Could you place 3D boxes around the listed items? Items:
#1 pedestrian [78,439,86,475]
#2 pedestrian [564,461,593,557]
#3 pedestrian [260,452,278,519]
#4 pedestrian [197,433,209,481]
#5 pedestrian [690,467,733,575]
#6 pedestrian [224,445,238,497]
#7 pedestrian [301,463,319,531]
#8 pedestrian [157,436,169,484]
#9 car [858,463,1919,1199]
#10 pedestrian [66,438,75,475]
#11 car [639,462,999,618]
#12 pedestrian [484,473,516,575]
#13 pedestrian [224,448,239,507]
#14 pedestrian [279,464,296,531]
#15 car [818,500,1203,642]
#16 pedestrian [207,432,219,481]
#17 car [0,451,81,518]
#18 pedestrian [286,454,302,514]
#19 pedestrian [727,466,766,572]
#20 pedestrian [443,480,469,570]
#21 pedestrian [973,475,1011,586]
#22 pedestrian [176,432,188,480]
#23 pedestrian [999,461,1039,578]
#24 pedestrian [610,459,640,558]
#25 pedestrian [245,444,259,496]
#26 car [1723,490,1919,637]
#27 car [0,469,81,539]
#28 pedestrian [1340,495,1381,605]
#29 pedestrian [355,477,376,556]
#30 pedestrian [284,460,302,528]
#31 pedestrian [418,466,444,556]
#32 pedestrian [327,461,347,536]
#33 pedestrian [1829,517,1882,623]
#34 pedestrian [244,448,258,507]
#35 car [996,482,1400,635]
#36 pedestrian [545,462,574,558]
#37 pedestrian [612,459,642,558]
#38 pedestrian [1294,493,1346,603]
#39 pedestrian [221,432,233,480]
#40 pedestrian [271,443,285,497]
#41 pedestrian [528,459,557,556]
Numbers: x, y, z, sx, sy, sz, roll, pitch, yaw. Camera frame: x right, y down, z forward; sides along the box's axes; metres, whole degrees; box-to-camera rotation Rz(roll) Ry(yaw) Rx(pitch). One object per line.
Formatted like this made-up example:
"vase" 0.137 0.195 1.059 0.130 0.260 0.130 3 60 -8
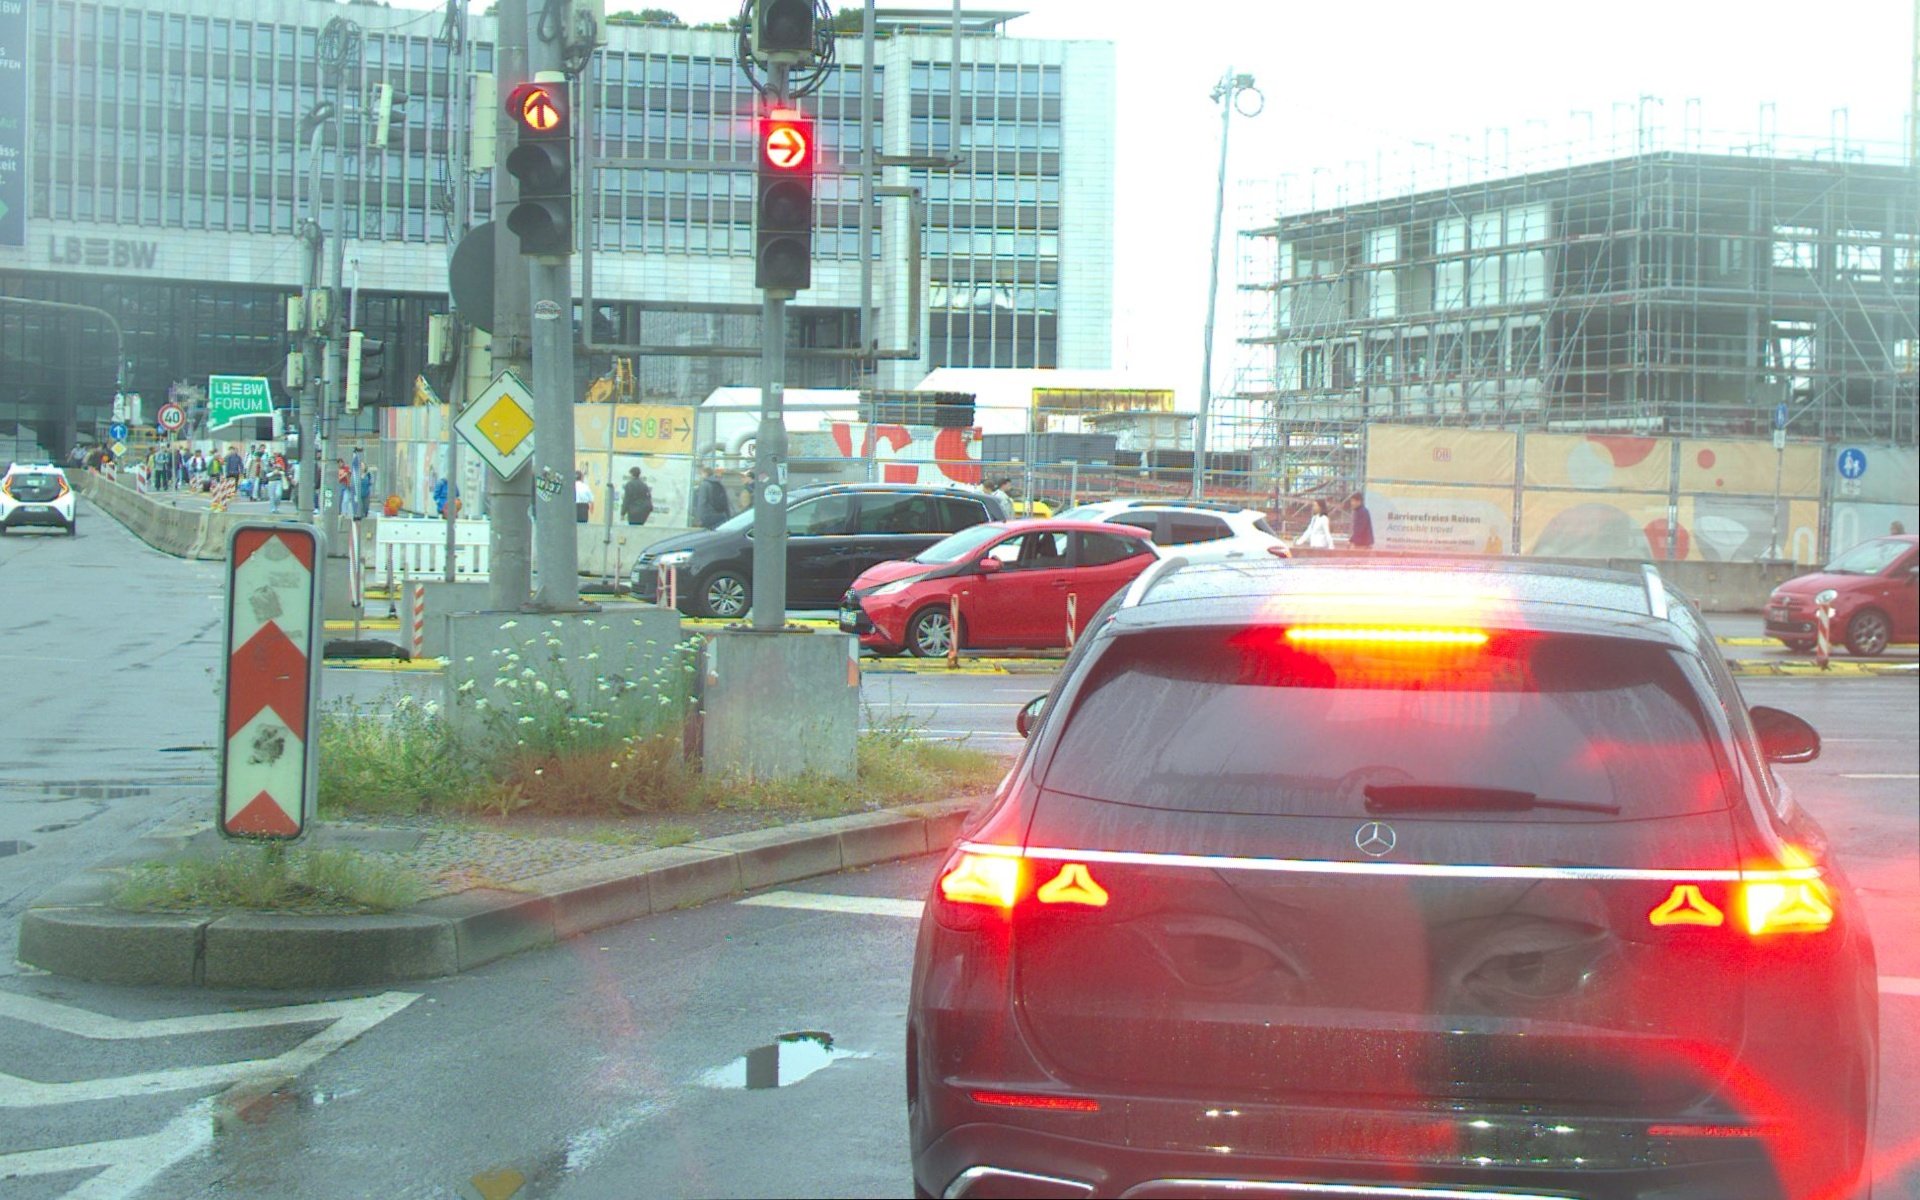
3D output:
"pedestrian" -46.002 -7.491 180.100 0.361 1.891 0.576 2 0 -15
"pedestrian" -7.592 -1.809 68.374 0.361 1.891 0.576 2 0 -22
"pedestrian" -19.762 -3.280 98.317 0.361 1.891 0.576 2 0 -18
"pedestrian" -30.562 -5.782 138.822 0.361 1.891 0.576 2 0 -18
"pedestrian" -4.377 -1.389 60.568 0.575 1.891 0.362 2 0 28
"pedestrian" -26.749 -4.735 126.110 0.361 1.891 0.576 2 0 -18
"pedestrian" -18.328 -2.888 96.891 0.361 1.891 0.576 2 0 -18
"pedestrian" -32.021 -5.630 138.176 0.361 1.891 0.576 2 0 -18
"car" 0.951 0.575 7.623 1.891 1.538 3.993 2 0 5
"pedestrian" -46.540 -7.508 179.881 0.361 1.891 0.576 2 0 -15
"car" -1.754 -0.723 42.205 3.985 1.728 2.001 2 0 -16
"pedestrian" -8.593 -1.414 64.234 0.361 1.891 0.576 2 0 -26
"pedestrian" -23.852 -4.003 112.541 0.361 1.891 0.576 2 0 -18
"pedestrian" -19.222 -2.922 98.254 0.361 1.891 0.576 2 0 -18
"car" 0.503 -0.291 35.111 3.532 1.300 1.666 2 0 -19
"pedestrian" -29.568 -5.683 136.115 0.361 1.891 0.576 2 0 -18
"car" -26.418 -3.286 98.715 1.993 1.760 4.420 2 0 -18
"pedestrian" -21.454 -3.737 110.726 0.361 1.891 0.576 2 0 -18
"pedestrian" -3.843 -1.463 61.859 0.361 1.891 0.576 2 0 -42
"pedestrian" -10.712 -1.592 73.106 0.361 1.891 0.576 2 0 -22
"pedestrian" 0.551 -1.189 59.206 0.574 1.891 0.362 2 0 2
"pedestrian" -31.345 -5.804 138.501 0.361 1.891 0.576 2 0 -18
"pedestrian" 0.966 -1.325 56.647 0.574 1.891 0.362 2 0 -2
"pedestrian" -6.455 -1.764 66.185 0.361 1.891 0.576 2 0 -22
"pedestrian" -26.041 -4.767 126.417 0.361 1.891 0.576 2 0 -18
"car" 11.693 -0.400 42.273 3.985 1.702 2.001 2 0 -18
"car" -20.746 -2.132 77.085 1.780 1.468 3.560 2 0 -17
"pedestrian" 6.943 -0.867 59.608 0.574 1.891 0.362 2 0 -11
"pedestrian" -14.362 -2.022 83.071 0.361 1.891 0.576 2 0 -18
"pedestrian" -18.782 -2.993 96.788 0.361 1.891 0.576 2 0 -18
"pedestrian" -11.223 -1.887 72.930 0.361 1.891 0.576 2 0 -22
"pedestrian" -16.084 -2.616 88.725 0.361 1.891 0.576 2 0 -18
"pedestrian" 16.296 -0.543 62.588 0.655 1.895 0.632 2 0 -14
"pedestrian" -23.092 -3.976 111.941 0.361 1.891 0.576 2 0 -14
"car" 2.677 -0.454 38.857 4.039 1.547 2.001 2 0 -19
"pedestrian" -7.948 -1.777 68.198 0.361 1.891 0.576 2 0 -22
"pedestrian" -6.427 -1.763 66.414 0.361 1.891 0.576 2 0 -22
"pedestrian" 6.315 -0.915 60.309 0.655 1.895 0.632 2 0 -14
"pedestrian" -29.115 -5.727 136.571 0.361 1.891 0.576 2 0 -18
"pedestrian" -23.880 -4.547 120.382 0.361 1.891 0.576 2 0 -18
"pedestrian" -8.244 -1.830 67.865 0.361 1.891 0.576 2 0 -21
